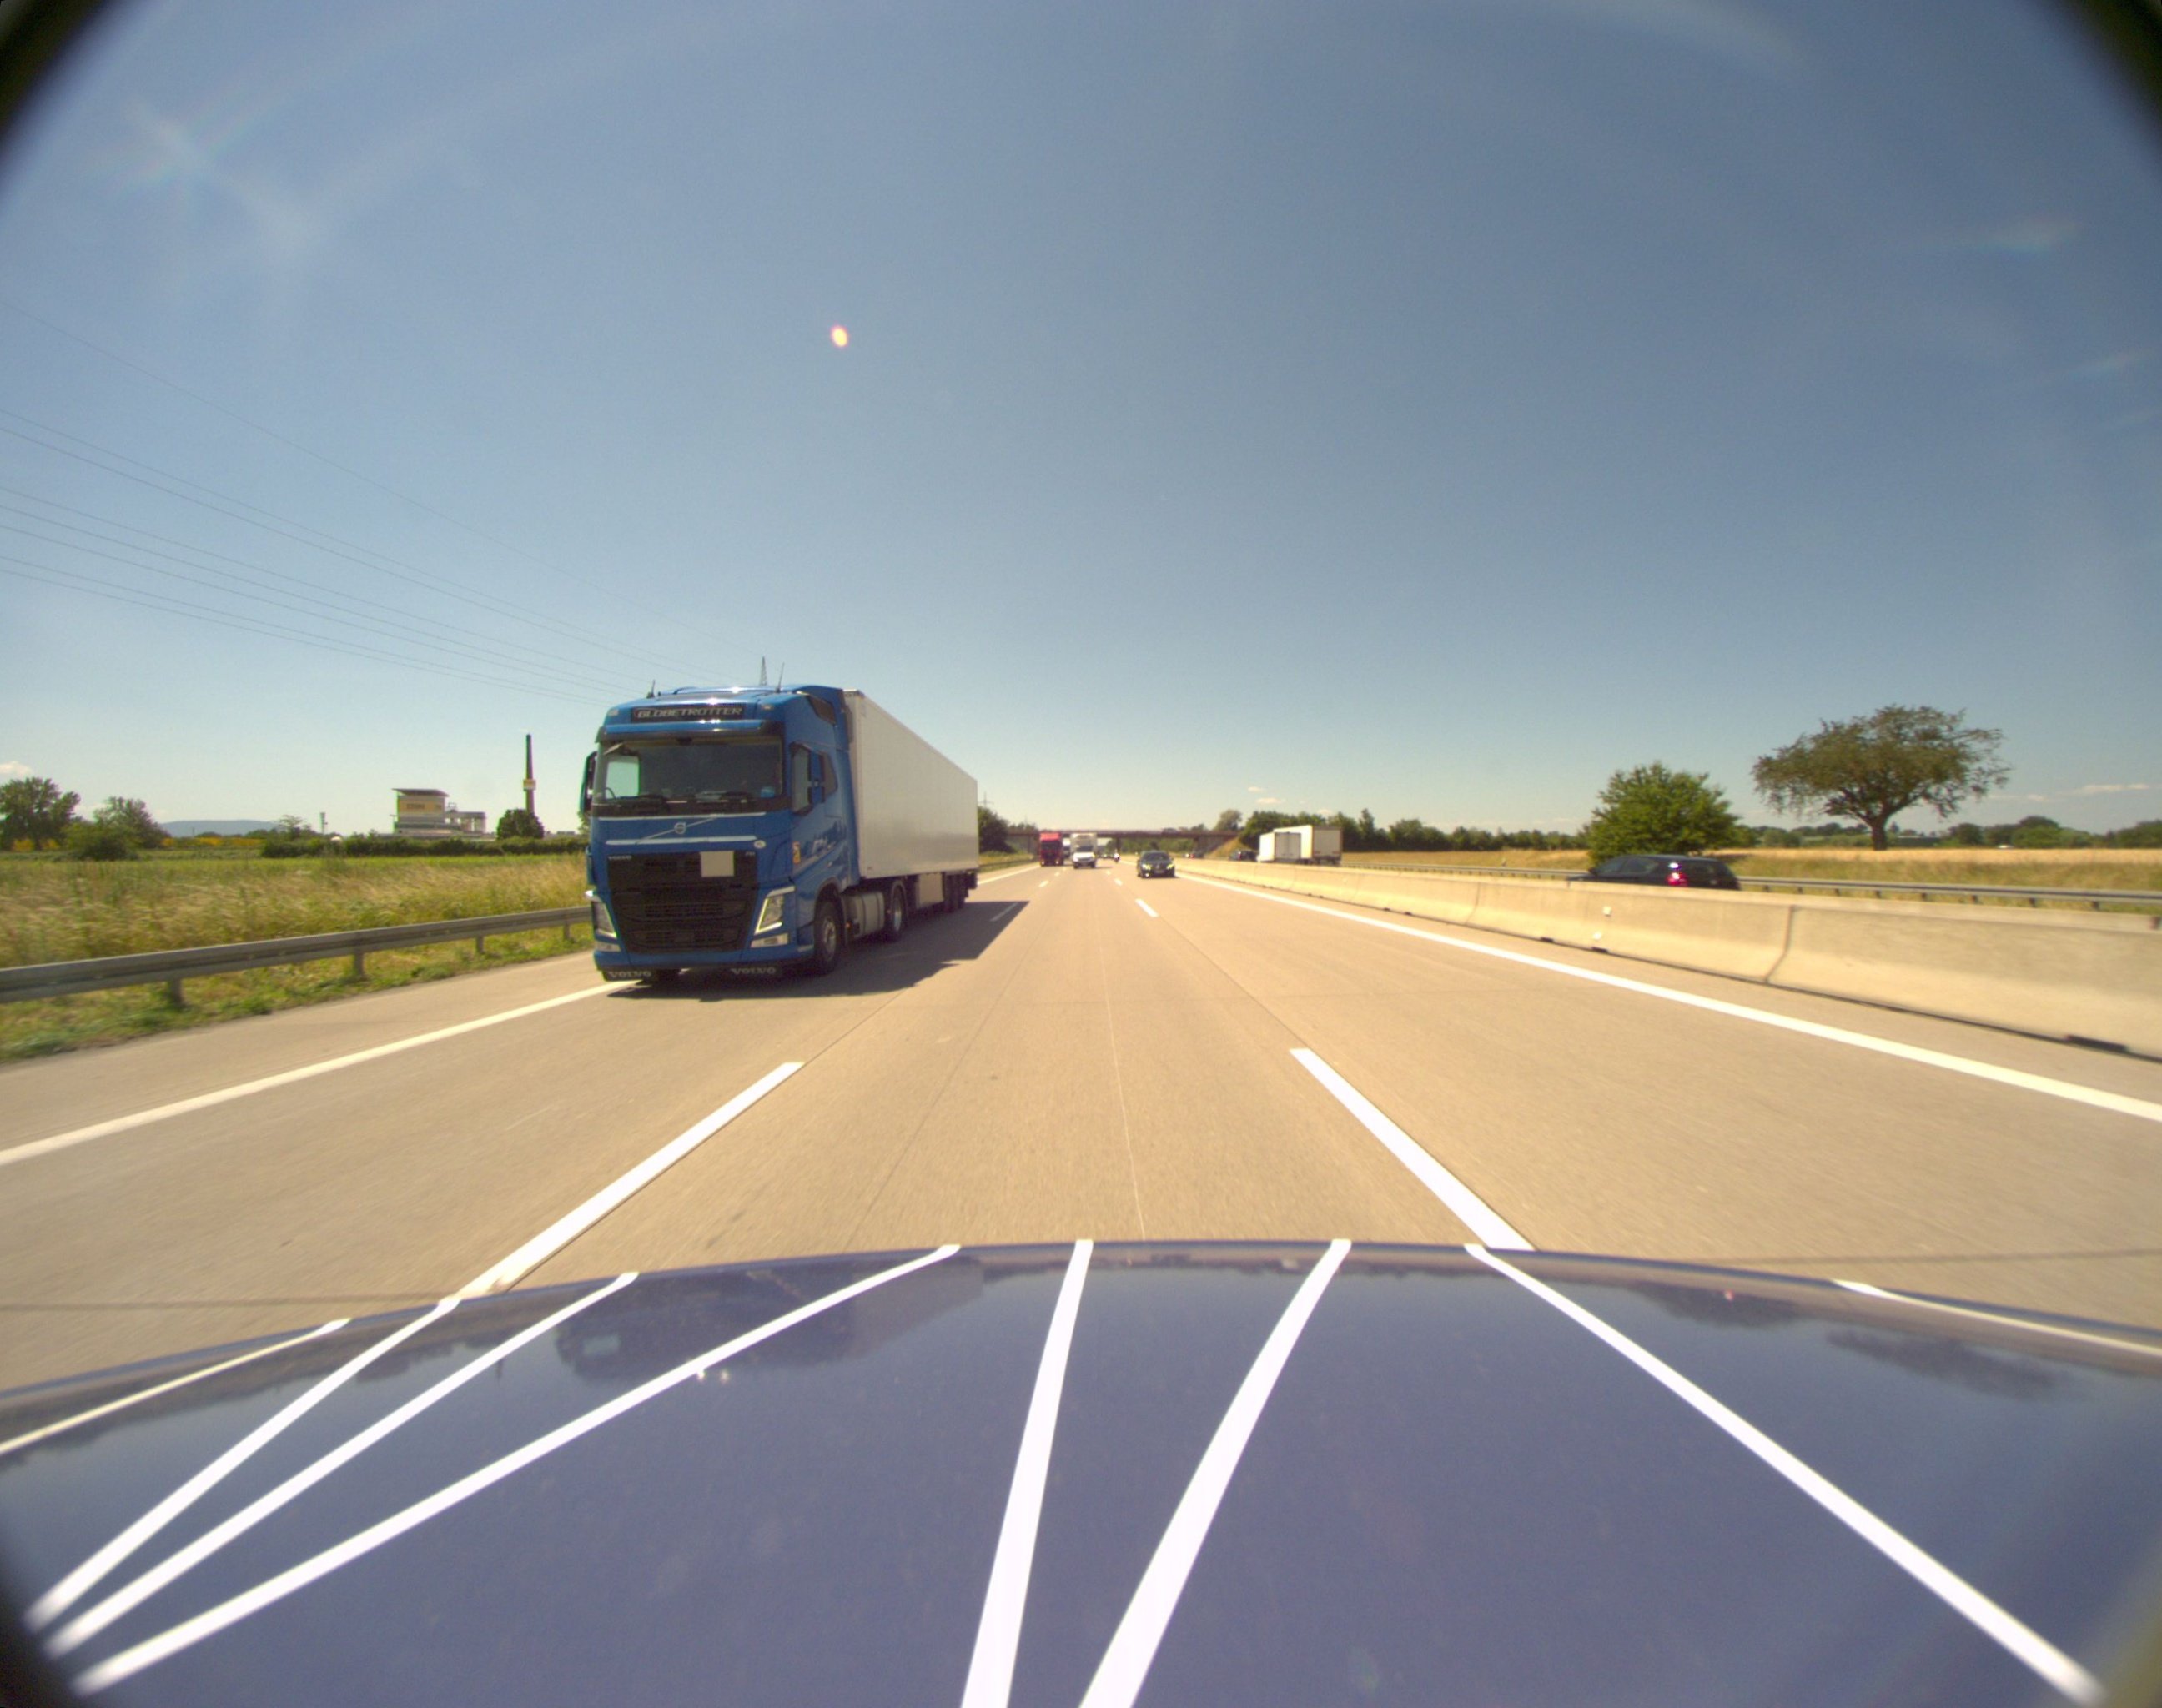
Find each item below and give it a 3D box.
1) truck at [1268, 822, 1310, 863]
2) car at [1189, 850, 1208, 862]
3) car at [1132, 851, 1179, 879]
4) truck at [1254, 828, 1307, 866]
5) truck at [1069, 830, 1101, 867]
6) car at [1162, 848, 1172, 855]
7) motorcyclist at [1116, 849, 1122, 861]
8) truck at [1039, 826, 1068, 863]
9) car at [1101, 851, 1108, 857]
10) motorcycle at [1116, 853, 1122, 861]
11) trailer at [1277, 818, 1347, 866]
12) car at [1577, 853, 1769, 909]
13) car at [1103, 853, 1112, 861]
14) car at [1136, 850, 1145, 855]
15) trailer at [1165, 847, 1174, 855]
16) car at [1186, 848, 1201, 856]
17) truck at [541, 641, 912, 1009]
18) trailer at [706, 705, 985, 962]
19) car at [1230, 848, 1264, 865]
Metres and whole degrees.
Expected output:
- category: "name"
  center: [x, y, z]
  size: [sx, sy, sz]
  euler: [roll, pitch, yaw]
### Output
- category: "truck"
  center: [21.428, -1.144, 78.558]
  size: [2.826, 4.021, 5.677]
  euler: [-2, 1, 1]
- category: "car"
  center: [12.870, 0.212, 83.513]
  size: [1.546, 1.156, 3.375]
  euler: [-2, 0, 0]
- category: "car"
  center: [4.171, 0.586, 43.582]
  size: [1.999, 1.462, 6.346]
  euler: [0, 0, 0]
- category: "truck"
  center: [17.257, -0.605, 66.297]
  size: [2.553, 3.124, 7.922]
  euler: [-1, 1, 0]
- category: "truck"
  center: [0.463, -0.555, 73.399]
  size: [2.784, 3.328, 7.812]
  euler: [-2, 1, 1]
- category: "car"
  center: [23.201, -0.724, 204.905]
  size: [1.870, 1.933, 5.565]
  euler: [-2, 1, 1]
- category: "motorcyclist"
  center: [5.002, 0.079, 100.828]
  size: [0.672, 1.552, 0.774]
  euler: [-2, 1, -1]
- category: "truck"
  center: [-3.342, -1.193, 94.688]
  size: [2.855, 4.298, 10.885]
  euler: [-2, 1, 1]
- category: "car"
  center: [5.764, -0.003, 189.214]
  size: [1.683, 1.444, 3.564]
  euler: [-2, 1, 2]
- category: "motorcycle"
  center: [5.004, 0.435, 100.806]
  size: [0.683, 1.046, 2.065]
  euler: [-2, 1, -1]
- category: "trailer"
  center: [21.288, -1.074, 71.048]
  size: [2.827, 4.021, 12.677]
  euler: [-2, 1, 1]
- category: "car"
  center: [12.752, 0.524, 16.645]
  size: [1.525, 1.047, 3.523]
  euler: [-2, 0, 2]
- category: "car"
  center: [5.225, 0.538, 149.871]
  size: [1.557, 1.440, 3.776]
  euler: [-2, 1, 2]
- category: "car"
  center: [14.360, -0.375, 183.388]
  size: [1.776, 1.233, 4.676]
  euler: [-2, 1, 0]
- category: "trailer"
  center: [23.179, -0.746, 199.618]
  size: [1.814, 2.031, 5.613]
  euler: [-2, 1, 1]
- category: "car"
  center: [18.473, -0.341, 125.059]
  size: [1.740, 1.365, 4.905]
  euler: [-2, 1, 0]
- category: "truck"
  center: [-4.570, -0.336, 11.250]
  size: [2.757, 4.020, 5.465]
  euler: [-2, 1, 0]
- category: "trailer"
  center: [-4.583, -0.383, 18.662]
  size: [2.716, 4.020, 12.900]
  euler: [-2, 1, 0]
- category: "car"
  center: [13.329, 0.159, 61.244]
  size: [1.851, 1.343, 4.493]
  euler: [0, 1, 2]
